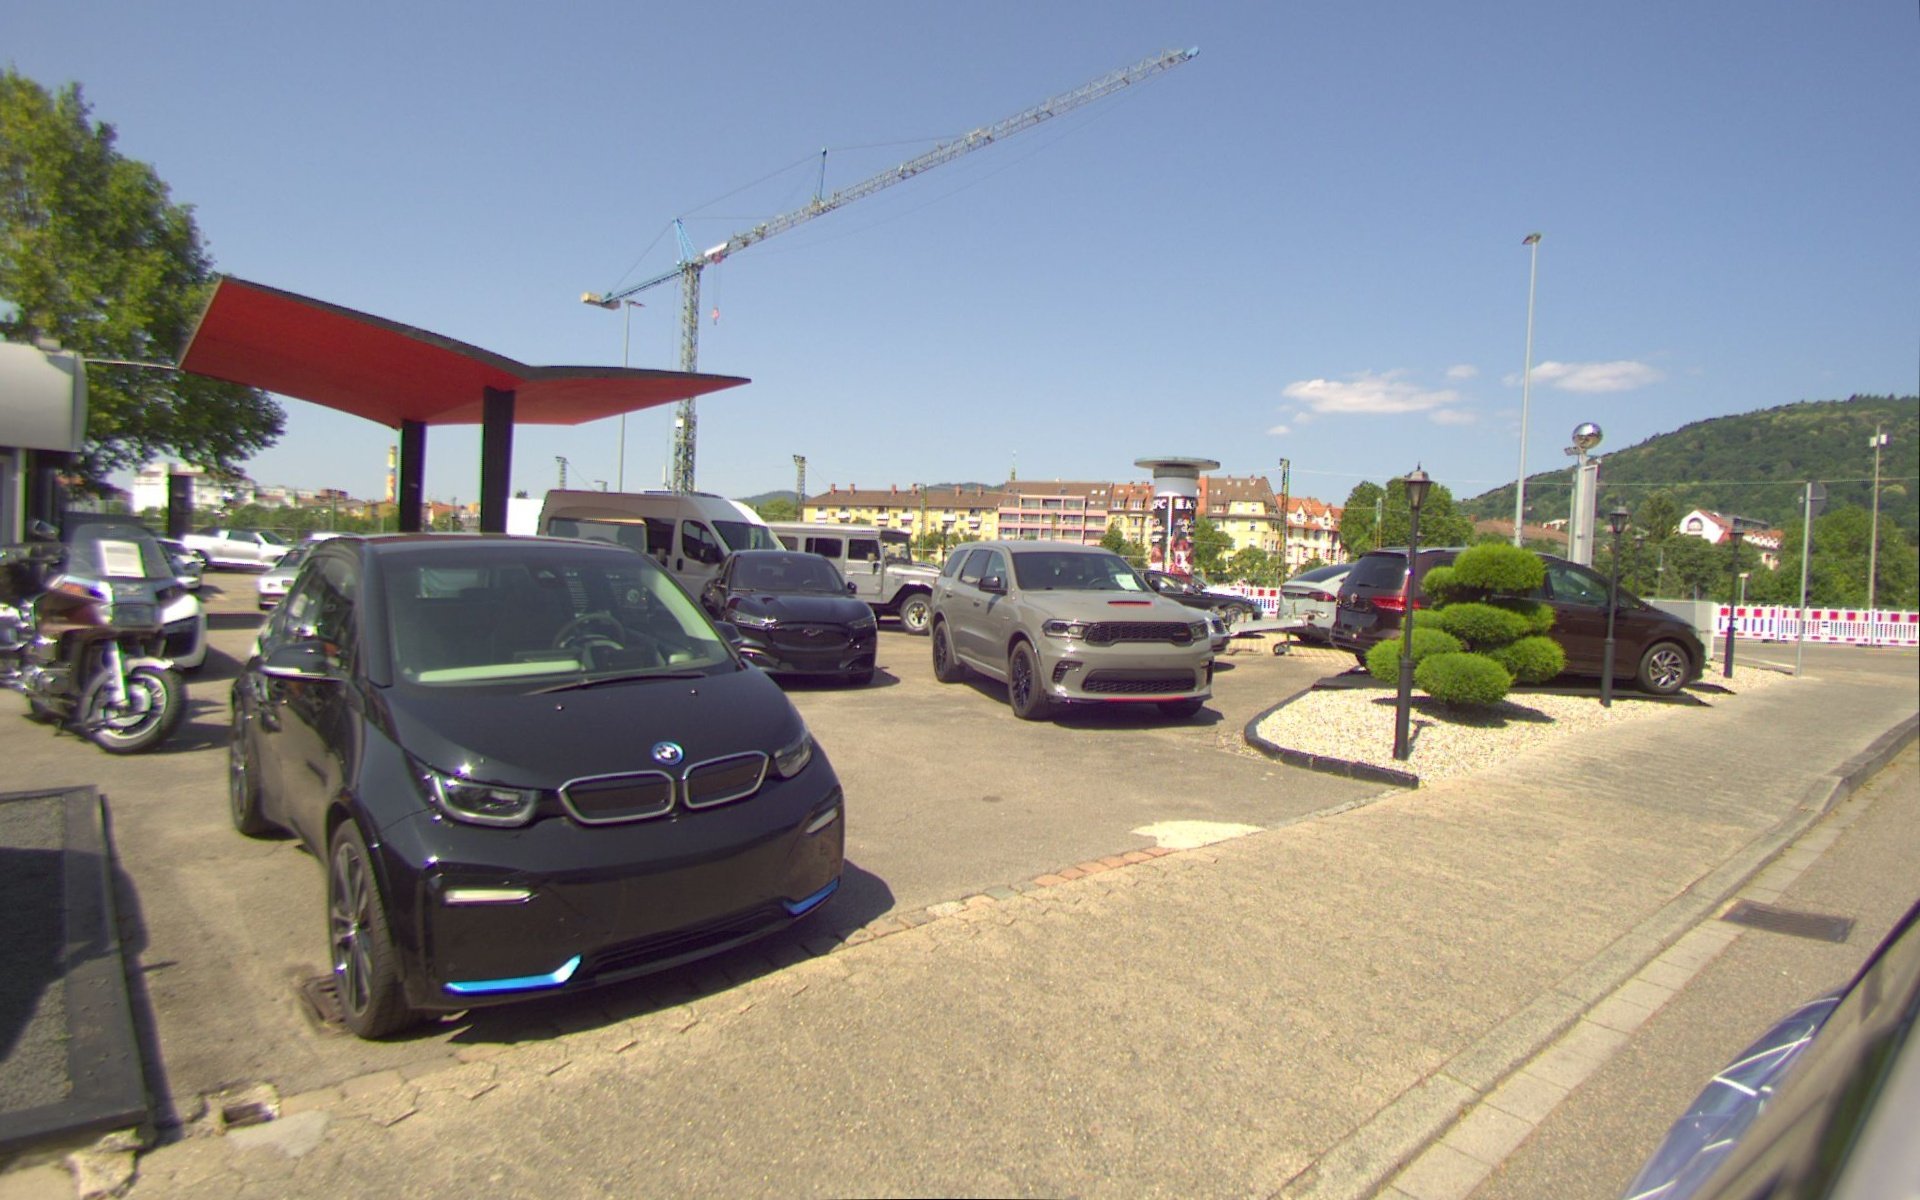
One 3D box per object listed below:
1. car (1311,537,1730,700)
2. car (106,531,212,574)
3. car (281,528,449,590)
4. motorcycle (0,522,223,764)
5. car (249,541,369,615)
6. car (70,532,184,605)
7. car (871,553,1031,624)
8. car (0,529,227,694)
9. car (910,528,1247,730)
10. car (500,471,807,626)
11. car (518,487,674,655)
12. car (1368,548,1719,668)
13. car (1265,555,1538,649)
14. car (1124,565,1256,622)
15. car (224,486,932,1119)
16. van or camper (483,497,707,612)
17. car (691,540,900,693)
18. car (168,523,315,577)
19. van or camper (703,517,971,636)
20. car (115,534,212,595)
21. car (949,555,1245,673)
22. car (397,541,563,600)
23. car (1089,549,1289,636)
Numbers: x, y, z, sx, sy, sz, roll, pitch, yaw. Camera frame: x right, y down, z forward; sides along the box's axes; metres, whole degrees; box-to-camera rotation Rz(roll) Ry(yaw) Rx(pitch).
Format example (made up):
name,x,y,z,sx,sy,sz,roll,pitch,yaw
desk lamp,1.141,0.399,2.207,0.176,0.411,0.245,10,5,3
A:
name,x,y,z,sx,sy,sz,roll,pitch,yaw
car,6.867,0.189,12.686,4.204,1.804,1.856,1,2,-5
car,-33.645,-1.999,42.491,3.959,1.660,1.983,2,2,26
car,-17.750,-1.206,30.371,3.969,1.660,1.728,2,1,-12
motorcycle,-6.336,0.189,7.291,2.678,1.451,0.996,4,2,39
car,-14.461,-0.524,22.374,1.889,1.460,4.332,1,2,-37
car,-18.193,-0.703,22.061,1.727,1.397,3.484,3,1,-42
car,-0.223,-0.292,24.414,3.688,1.569,1.648,2,2,0
car,-9.221,-0.001,10.411,4.116,1.334,1.920,5,3,42
car,1.002,0.181,11.569,1.884,1.784,5.009,1,2,-17
car,-6.166,-1.010,20.170,5.960,2.712,2.239,2,1,27
car,-5.749,-0.491,15.672,1.885,2.176,4.588,2,2,-23
car,9.708,0.098,17.123,4.724,1.801,2.019,1,2,-2
car,8.797,0.025,20.294,4.716,1.713,2.022,1,2,-15
car,7.355,-0.247,32.498,3.941,1.660,1.992,2,2,14
car,-2.038,0.433,4.615,1.729,1.644,3.809,0,3,-42
van or camper,-8.566,-1.098,23.722,4.880,2.466,1.985,3,2,23
car,-2.377,0.087,13.433,1.884,1.655,4.589,1,2,-20
car,-24.234,-1.675,34.236,3.650,1.660,1.728,2,1,-12
van or camper,-2.666,-0.543,21.611,5.452,2.289,2.093,2,1,27
car,-20.739,-0.940,26.309,1.727,1.397,3.484,3,1,-42
car,2.111,0.132,15.701,4.166,1.553,1.908,2,2,27
car,-13.575,-0.829,28.839,3.969,1.497,1.728,2,1,-12
car,4.941,-0.189,22.296,3.925,1.727,1.861,2,2,2
